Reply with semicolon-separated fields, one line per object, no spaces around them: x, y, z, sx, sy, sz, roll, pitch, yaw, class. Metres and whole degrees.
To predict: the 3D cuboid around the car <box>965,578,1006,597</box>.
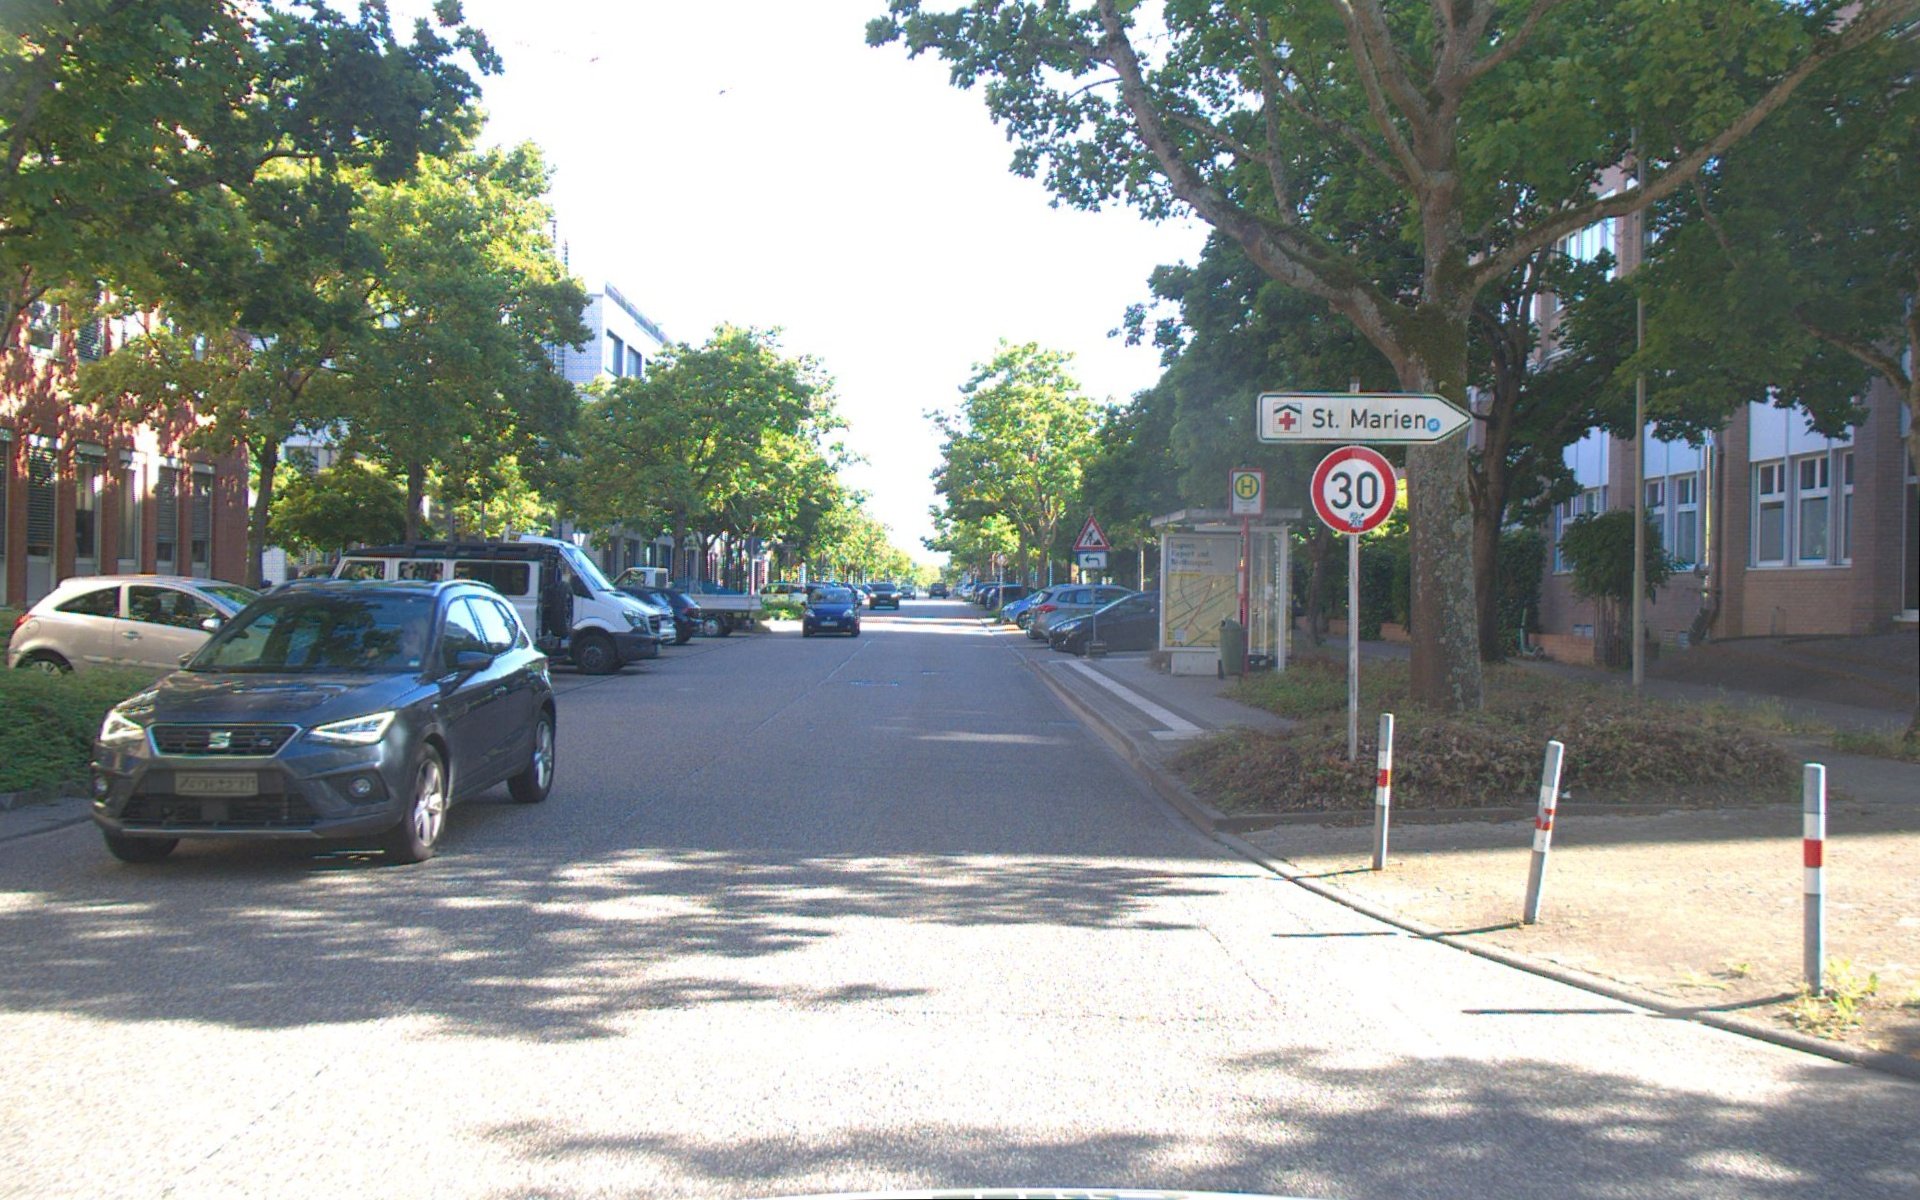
2.514;-1.207;164.207;3.910;1.823;1.998;1;0;-6;car

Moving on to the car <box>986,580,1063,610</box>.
3.589;-0.301;92.756;4.183;1.662;1.857;0;0;-3;car

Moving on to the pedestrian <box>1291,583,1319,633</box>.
11.084;0.244;53.132;0.741;1.579;0.559;0;0;-4;pedestrian

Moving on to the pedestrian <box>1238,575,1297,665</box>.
6.144;0.387;33.076;0.902;1.740;0.695;-3;1;-14;pedestrian

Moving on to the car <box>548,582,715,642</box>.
-8.498;0.296;43.000;3.903;1.460;1.790;1;0;3;car

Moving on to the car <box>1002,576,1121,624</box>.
3.819;-0.010;62.600;4.316;1.646;1.911;-2;1;-2;car

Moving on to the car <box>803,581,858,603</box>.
-9.235;-0.566;118.087;3.814;1.489;1.857;1;0;-2;car

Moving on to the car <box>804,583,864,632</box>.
-3.855;0.193;51.012;1.610;1.445;3.999;1;1;-1;car

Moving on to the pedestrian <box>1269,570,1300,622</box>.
11.081;-0.149;56.429;0.683;1.740;0.918;-3;1;-12;pedestrian

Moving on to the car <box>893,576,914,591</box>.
-5.734;-1.687;168.730;1.775;1.440;4.109;1;1;3;car

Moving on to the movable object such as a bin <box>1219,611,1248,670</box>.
3.674;0.542;22.221;0.292;0.767;0.467;-1;0;-1;movable object such as a bin

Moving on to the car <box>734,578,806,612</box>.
-9.572;-0.240;83.429;3.509;1.577;1.636;1;-2;-3;car

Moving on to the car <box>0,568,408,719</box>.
-8.441;0.457;18.681;3.755;1.486;1.733;2;0;2;car

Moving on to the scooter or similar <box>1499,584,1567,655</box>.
11.399;0.367;32.956;0.538;1.348;1.804;2;0;-6;scooter or similar

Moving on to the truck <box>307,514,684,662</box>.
-8.204;-0.220;29.685;6.105;2.464;2.187;1;0;-1;truck

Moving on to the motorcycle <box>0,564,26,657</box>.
-16.969;0.180;28.420;0.700;1.619;2.109;0;1;-2;motorcycle

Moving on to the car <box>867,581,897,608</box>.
-4.951;-0.369;105.119;1.854;1.713;4.350;0;1;-3;car

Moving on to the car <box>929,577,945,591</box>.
-2.664;-1.851;193.193;1.894;1.625;4.365;0;1;-1;car

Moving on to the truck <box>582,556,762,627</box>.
-8.464;-0.254;48.882;4.882;1.993;2.139;1;0;1;truck

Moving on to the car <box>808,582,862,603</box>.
-9.198;-0.579;121.959;3.814;1.489;1.857;1;0;-2;car

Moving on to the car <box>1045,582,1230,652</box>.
3.912;0.360;36.815;3.856;1.464;1.773;1;0;-3;car

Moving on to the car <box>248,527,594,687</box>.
-7.838;0.105;24.414;4.392;2.087;1.999;2;0;-3;car

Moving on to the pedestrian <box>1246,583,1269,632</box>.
9.567;0.243;53.200;0.589;1.547;0.595;2;0;5;pedestrian

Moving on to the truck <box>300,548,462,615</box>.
-24.580;-0.790;70.407;5.981;2.752;2.577;0;0;-3;truck

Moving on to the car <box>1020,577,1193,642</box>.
3.866;0.249;44.050;4.269;1.625;1.936;1;0;-7;car

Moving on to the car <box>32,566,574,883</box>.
-3.695;0.593;10.132;1.743;1.538;4.000;1;0;-1;car

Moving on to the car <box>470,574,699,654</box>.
-7.981;0.282;35.444;4.450;1.467;1.889;2;1;-3;car

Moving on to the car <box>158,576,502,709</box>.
-8.095;0.519;21.485;3.701;1.518;1.833;2;0;0;car

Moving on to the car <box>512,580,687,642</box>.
-8.829;0.259;40.721;3.906;1.460;1.722;0;1;-1;car

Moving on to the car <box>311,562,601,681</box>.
-8.039;0.329;26.693;4.025;1.690;1.999;2;0;-3;car

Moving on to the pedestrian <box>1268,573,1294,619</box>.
10.299;-0.128;53.072;0.686;1.483;0.715;0;1;-3;pedestrian
